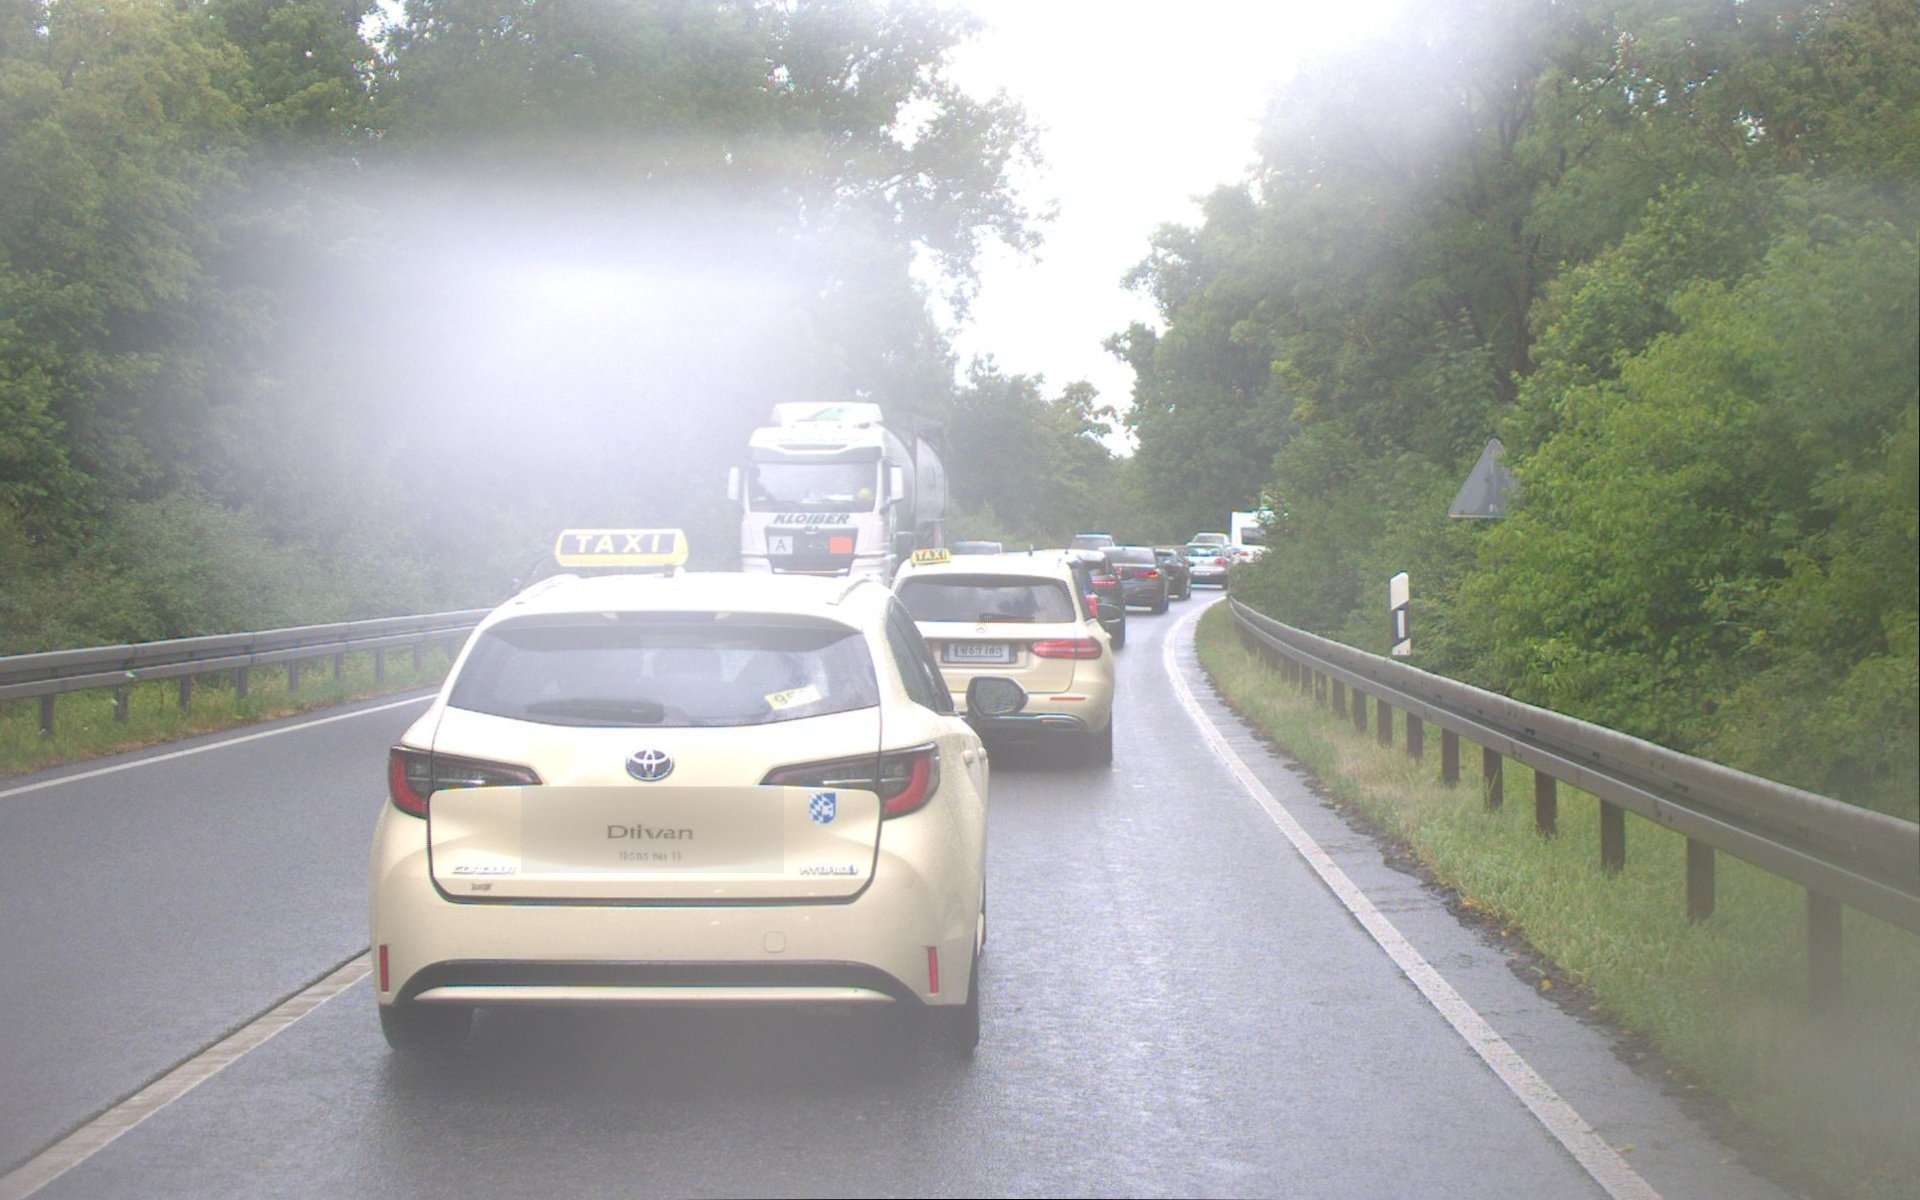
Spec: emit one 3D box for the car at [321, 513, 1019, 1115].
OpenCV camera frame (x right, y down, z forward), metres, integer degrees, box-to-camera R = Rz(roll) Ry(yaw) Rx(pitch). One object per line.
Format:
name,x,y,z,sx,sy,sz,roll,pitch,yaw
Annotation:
car,-0.779,0.557,11.229,1.834,1.575,4.157,1,0,0

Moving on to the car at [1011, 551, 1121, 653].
car,1.684,0.003,53.627,1.611,1.541,3.814,0,1,3

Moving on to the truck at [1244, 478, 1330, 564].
truck,14.711,-3.516,154.246,3.108,3.668,6.997,1,0,11

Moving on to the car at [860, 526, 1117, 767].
car,0.275,0.297,24.785,1.667,1.575,3.892,1,0,3

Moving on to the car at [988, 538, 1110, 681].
car,1.015,0.096,39.237,1.300,1.541,3.260,1,0,1

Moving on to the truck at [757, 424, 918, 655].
truck,-2.072,-1.022,59.746,2.536,3.812,5.245,1,0,0

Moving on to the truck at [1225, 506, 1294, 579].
truck,11.632,-2.201,133.911,2.550,2.704,7.534,1,0,4

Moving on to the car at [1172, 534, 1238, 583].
car,7.957,-1.328,111.471,1.770,1.541,3.812,1,0,10

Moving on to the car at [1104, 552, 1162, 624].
car,3.831,-0.271,76.075,1.167,1.541,2.603,1,0,5

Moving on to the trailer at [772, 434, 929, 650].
trailer,-1.986,-1.056,65.118,2.536,3.812,7.791,1,0,1
